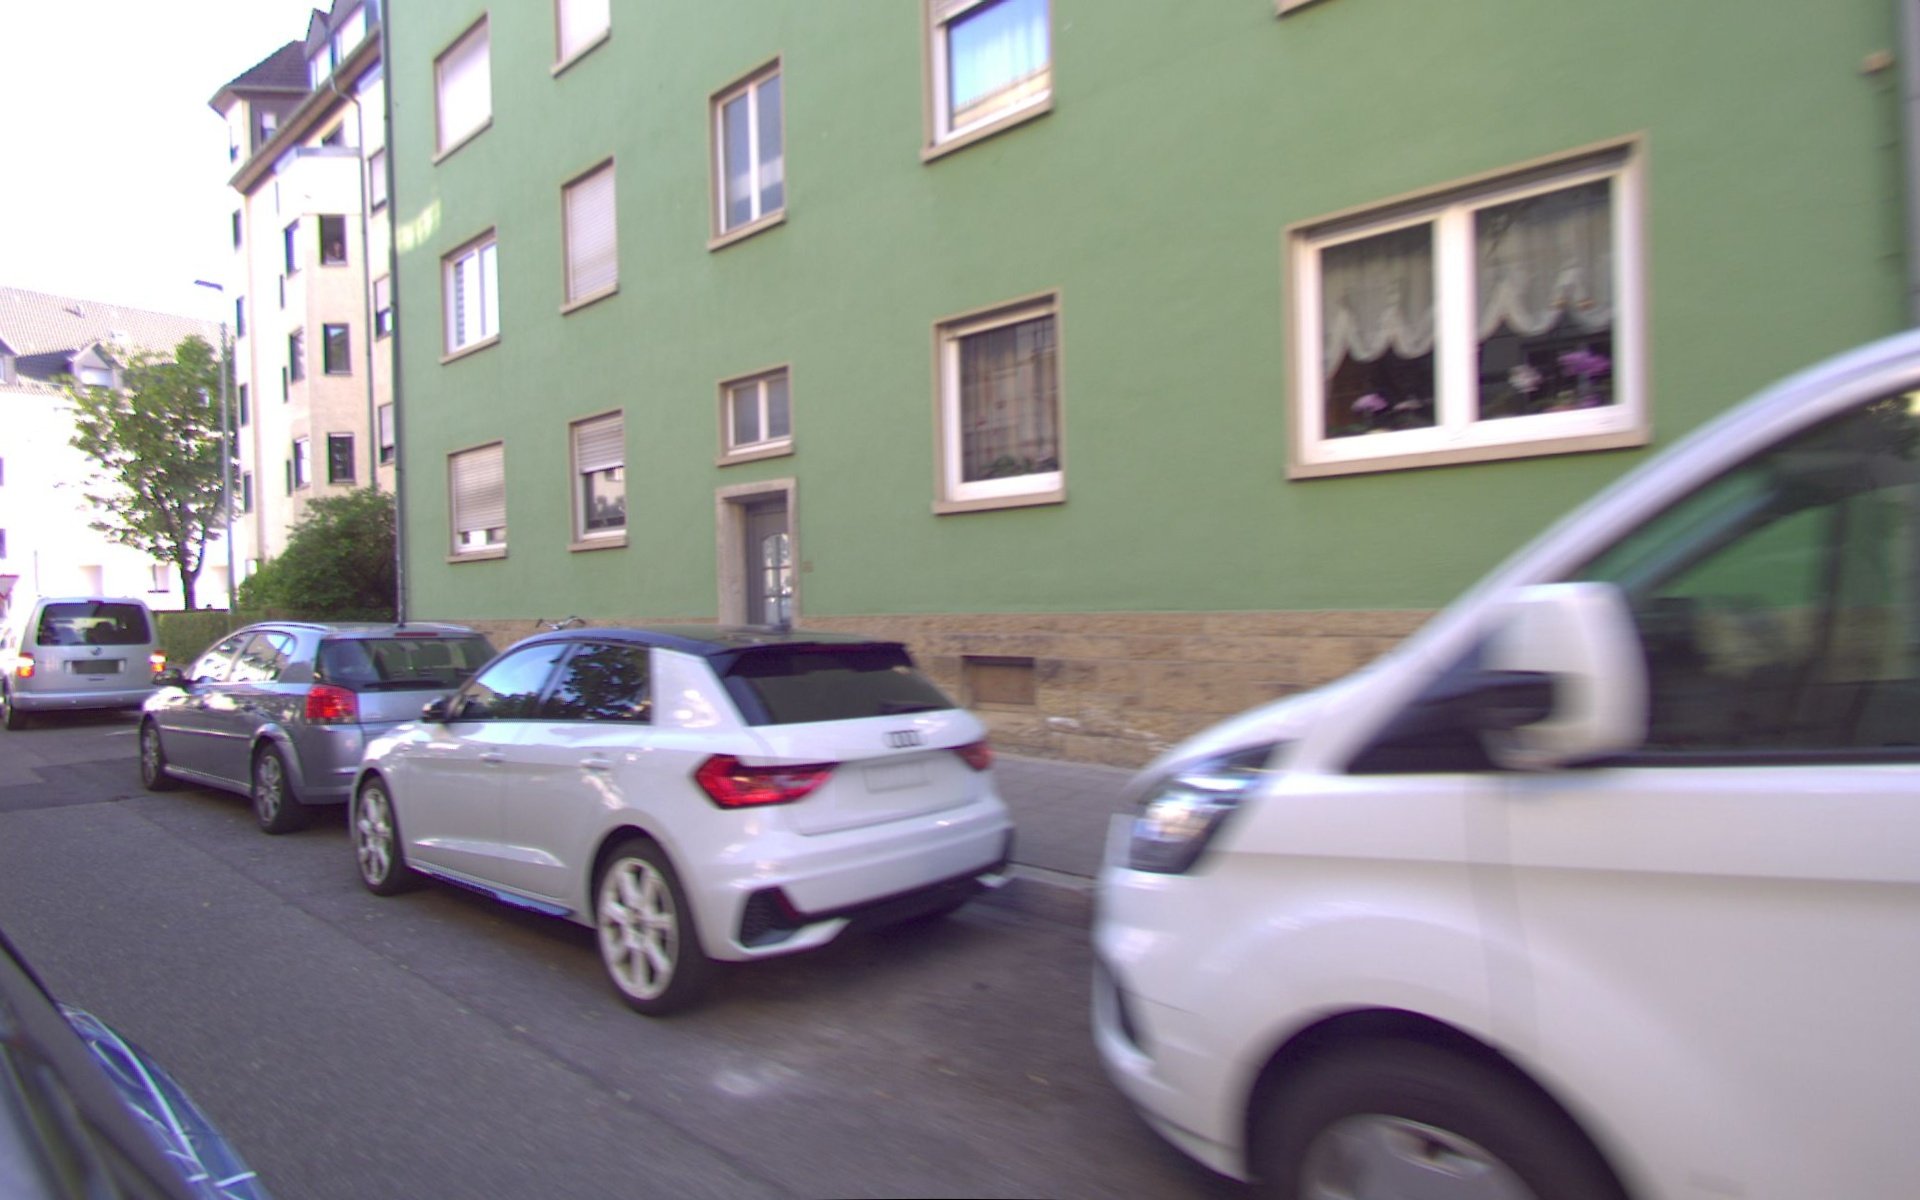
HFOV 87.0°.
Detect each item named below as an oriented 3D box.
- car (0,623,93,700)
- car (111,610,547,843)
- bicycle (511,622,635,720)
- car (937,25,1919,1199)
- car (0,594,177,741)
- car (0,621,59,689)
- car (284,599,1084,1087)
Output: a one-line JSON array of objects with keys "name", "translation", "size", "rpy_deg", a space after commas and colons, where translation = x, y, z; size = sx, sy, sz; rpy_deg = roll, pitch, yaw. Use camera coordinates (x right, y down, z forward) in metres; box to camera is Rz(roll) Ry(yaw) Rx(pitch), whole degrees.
[{"name": "car", "translation": [-19.632, 1.247, 21.078], "size": [4.204, 1.464, 1.748], "rpy_deg": [-2, -3, 41]}, {"name": "car", "translation": [-5.460, 0.857, 8.508], "size": [4.501, 1.473, 1.703], "rpy_deg": [-1, -2, 39]}, {"name": "bicycle", "translation": [-4.788, 0.833, 12.451], "size": [1.969, 1.083, 0.482], "rpy_deg": [-1, 4, 41]}, {"name": "car", "translation": [2.660, 0.337, 1.618], "size": [5.238, 2.185, 2.229], "rpy_deg": [-1, -2, 39]}, {"name": "car", "translation": [-13.283, 0.900, 14.975], "size": [4.412, 1.857, 1.753], "rpy_deg": [-1, -2, 40]}, {"name": "car", "translation": [-23.634, 1.310, 24.630], "size": [4.065, 1.567, 1.703], "rpy_deg": [-1, -2, 36]}, {"name": "car", "translation": [-1.691, 0.790, 5.189], "size": [4.360, 1.473, 1.814], "rpy_deg": [-1, -2, 40]}]
